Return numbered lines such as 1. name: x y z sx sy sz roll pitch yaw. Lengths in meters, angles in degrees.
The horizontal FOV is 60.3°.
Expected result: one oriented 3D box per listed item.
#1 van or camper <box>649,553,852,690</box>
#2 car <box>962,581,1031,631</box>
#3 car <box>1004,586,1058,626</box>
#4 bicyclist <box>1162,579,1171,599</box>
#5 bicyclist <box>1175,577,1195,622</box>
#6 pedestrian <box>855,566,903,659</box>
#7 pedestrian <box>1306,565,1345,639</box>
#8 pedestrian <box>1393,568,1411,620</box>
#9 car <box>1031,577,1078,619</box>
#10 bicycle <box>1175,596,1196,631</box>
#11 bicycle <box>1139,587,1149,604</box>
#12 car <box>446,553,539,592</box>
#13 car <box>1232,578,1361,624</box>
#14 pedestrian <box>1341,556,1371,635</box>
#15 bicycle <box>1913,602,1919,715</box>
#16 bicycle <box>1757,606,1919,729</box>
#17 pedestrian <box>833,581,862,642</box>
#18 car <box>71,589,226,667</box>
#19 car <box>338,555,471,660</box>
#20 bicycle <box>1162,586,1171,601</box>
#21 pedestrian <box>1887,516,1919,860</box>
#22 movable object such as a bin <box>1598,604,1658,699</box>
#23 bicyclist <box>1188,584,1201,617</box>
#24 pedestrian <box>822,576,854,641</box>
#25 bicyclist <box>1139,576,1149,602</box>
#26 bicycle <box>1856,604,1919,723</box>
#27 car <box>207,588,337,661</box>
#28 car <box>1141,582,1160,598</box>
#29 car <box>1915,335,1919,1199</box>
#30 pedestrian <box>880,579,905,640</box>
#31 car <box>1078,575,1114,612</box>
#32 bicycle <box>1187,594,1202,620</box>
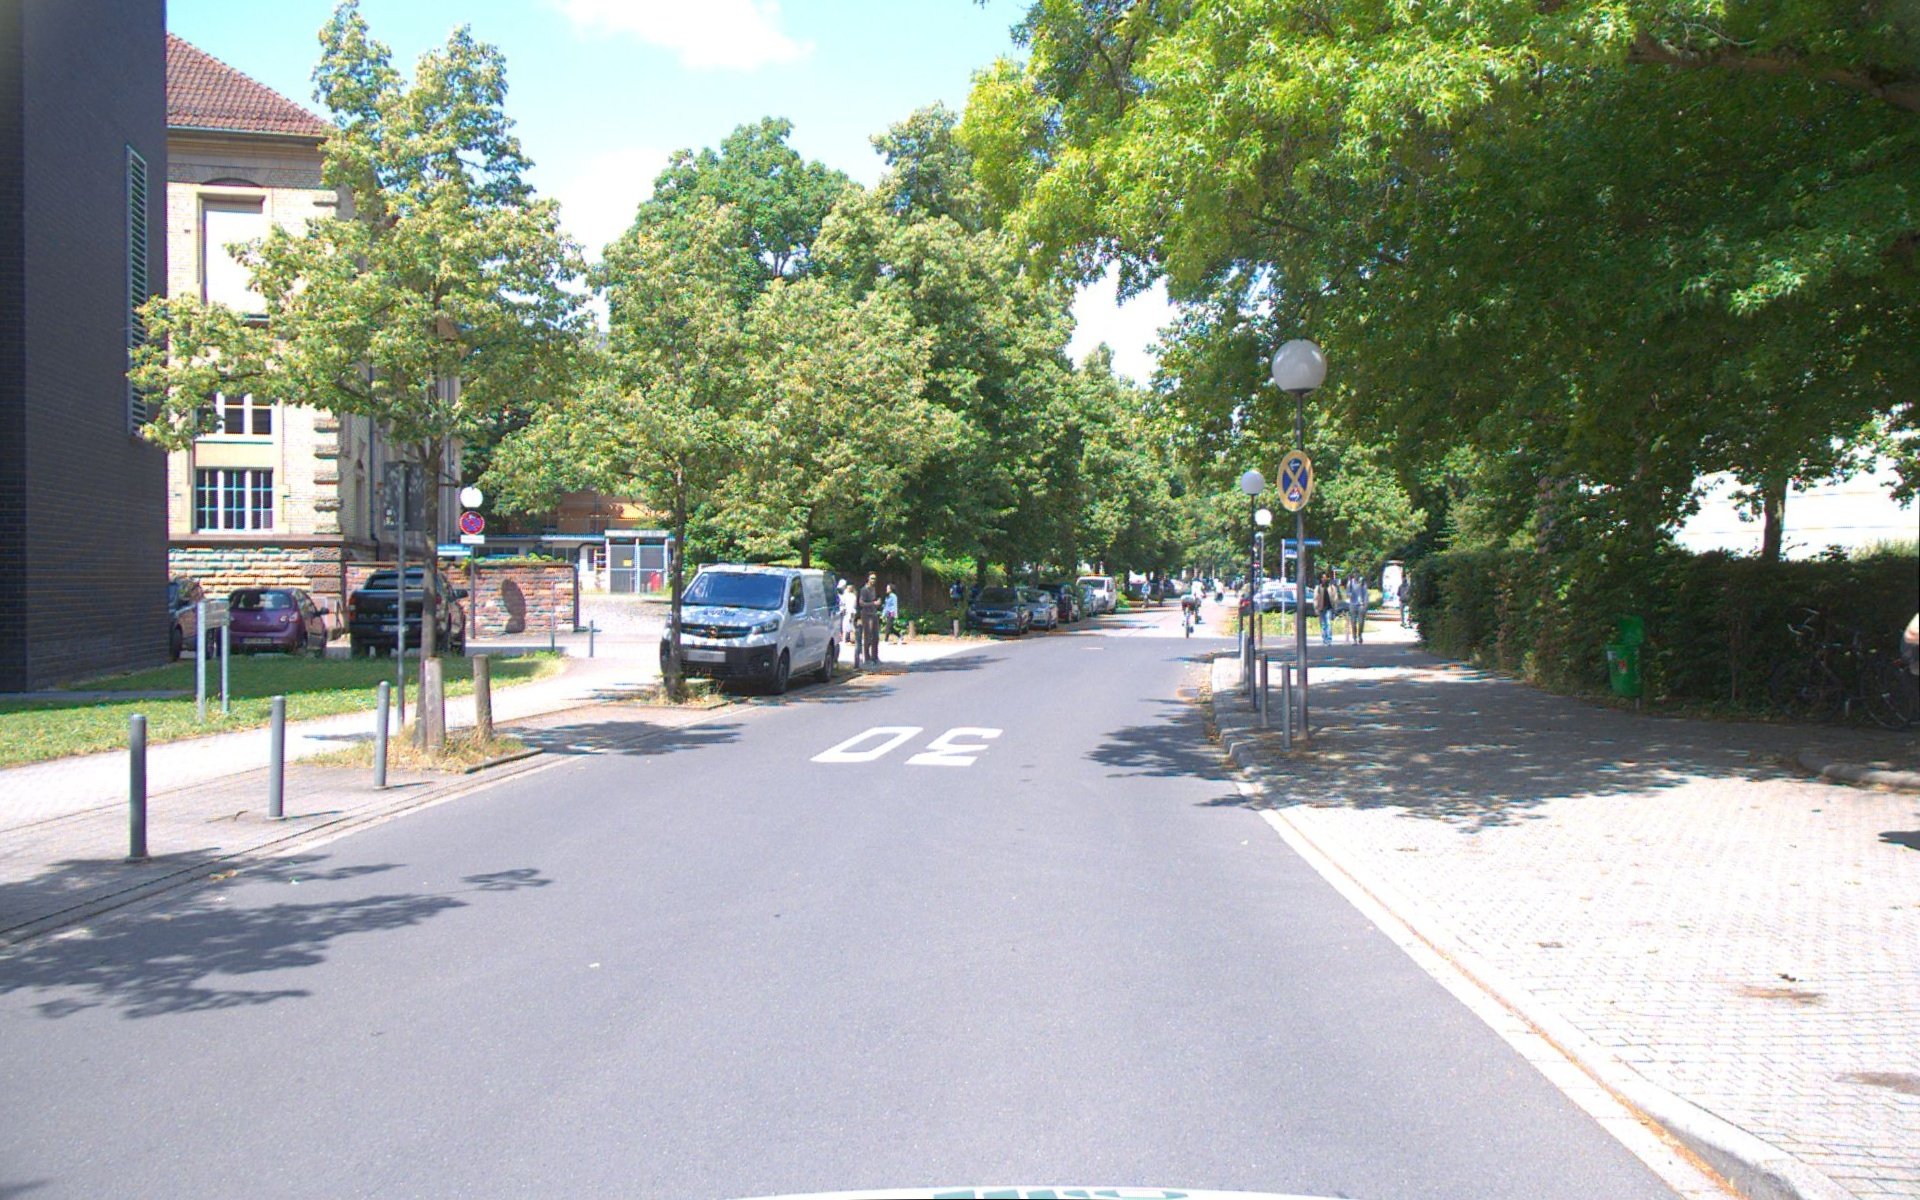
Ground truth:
1. van or camper: -3.271 0.282 27.020 1.912 1.956 5.425 1 1 8
2. car: 1.216 0.171 53.181 1.722 1.548 4.115 0 1 8
3. car: 2.633 0.182 60.831 1.581 1.412 4.004 0 1 8
4. bicyclist: 13.658 -0.709 109.313 0.595 1.318 0.611 0 0 8
5. bicyclist: 6.759 -0.022 49.623 0.596 1.318 0.611 0 0 8
6. pedestrian: -1.671 0.250 34.221 0.710 1.889 0.790 0 0 26
7. pedestrian: 8.919 0.046 40.302 0.804 1.786 0.840 0 1 22
8. pedestrian: 15.152 -0.214 56.649 0.588 1.786 0.629 0 0 15
9. car: 3.990 -0.101 69.418 1.581 1.708 4.004 0 1 8
10. bicycle: 6.755 0.400 49.611 0.601 1.018 1.425 0 1 8
11. bicycle: 11.073 -0.279 99.515 0.565 1.018 1.425 0 1 8
12. car: -20.029 -1.168 70.952 3.791 1.650 1.749 0 0 -16
13. car: 11.859 0.020 58.509 4.389 1.552 1.812 -1 0 10
14. pedestrian: 9.693 -0.106 40.481 0.657 1.905 0.792 0 0 19
15. bicycle: 10.054 0.599 15.914 0.489 1.138 1.933 0 0 -7
16. bicycle: 8.856 0.646 16.650 0.607 1.138 1.869 0 0 -7
17. pedestrian: -2.900 0.293 42.627 0.578 1.553 0.489 0 0 -31
18. car: -15.815 0.503 32.439 1.786 1.347 4.149 2 0 -13
19. car: -11.180 0.107 33.615 2.138 1.959 5.167 0 1 -14
20. bicycle: 13.658 -0.423 109.350 0.601 1.018 1.425 0 1 8
21. pedestrian: 5.514 0.472 9.069 0.619 1.853 0.719 0 0 42
22. movable object such as a bin: 7.861 0.598 19.476 0.479 1.091 0.504 0 0 -5
23. bicyclist: 9.485 0.007 66.997 0.511 1.318 0.611 0 0 8
24. pedestrian: -3.237 0.213 43.801 0.622 1.692 0.595 0 0 -39
25. bicyclist: 11.087 -0.656 99.463 0.551 1.524 0.828 0 0 8
26. bicycle: 9.523 0.616 16.030 0.489 1.138 1.869 0 0 -7
27. car: -13.649 0.439 33.025 1.786 1.347 3.755 0 1 -13
28. car: 16.354 -0.853 142.112 1.581 1.388 4.566 0 1 7
29. car: 3.115 0.407 1.264 1.811 1.924 4.888 0 1 -2
30. pedestrian: -1.782 0.244 43.817 0.489 1.613 0.489 0 0 -31
31. car: 6.963 -0.353 84.464 1.581 1.847 4.004 0 1 8
32. bicycle: 9.491 0.268 66.981 0.601 1.018 1.425 0 1 8
